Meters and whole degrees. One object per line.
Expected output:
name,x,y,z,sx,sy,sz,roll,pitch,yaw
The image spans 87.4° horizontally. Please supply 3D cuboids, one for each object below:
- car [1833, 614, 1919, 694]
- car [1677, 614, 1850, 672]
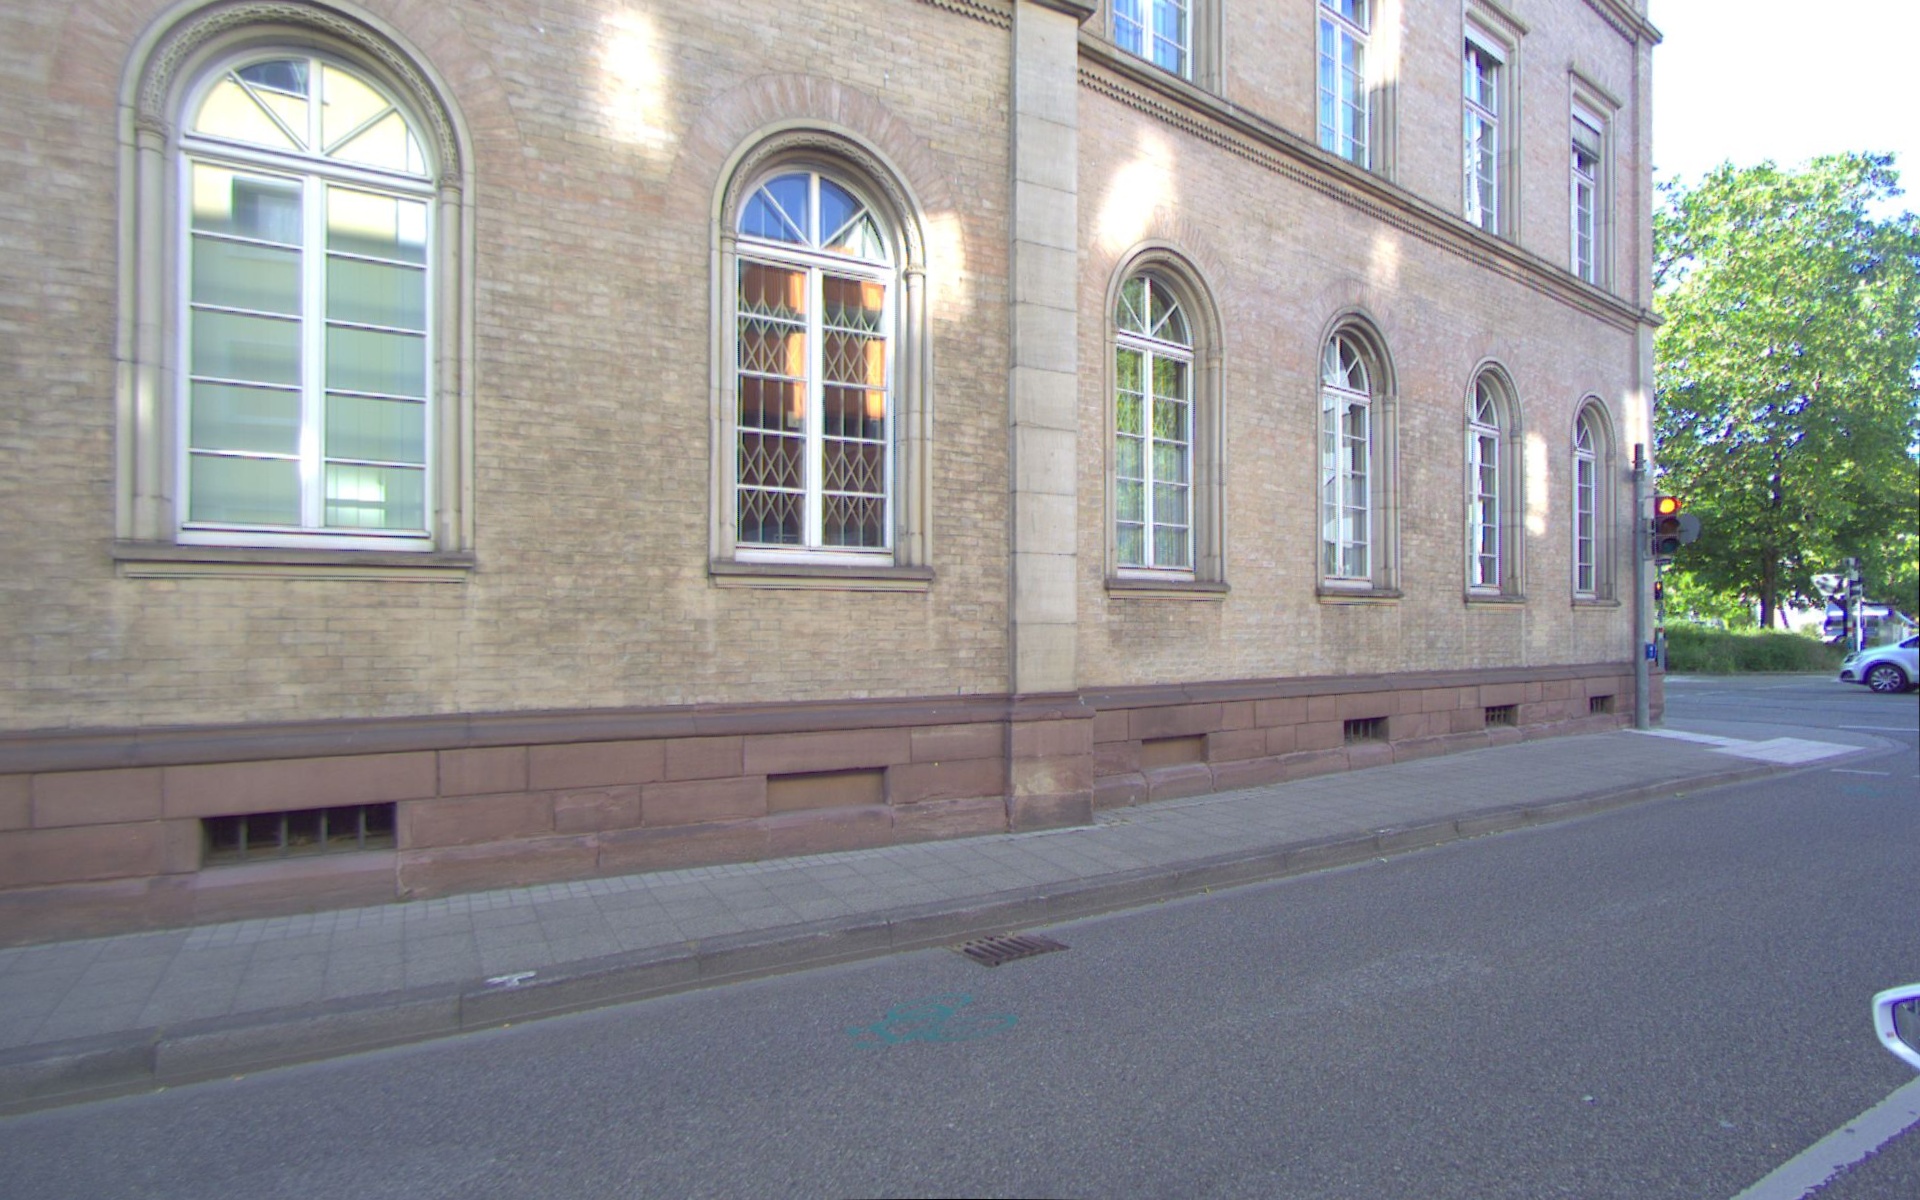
car,22.192,1.156,21.693,1.782,1.729,4.729,1,-2,-35
car,26.619,1.380,33.399,1.888,1.801,4.193,1,-1,-37
